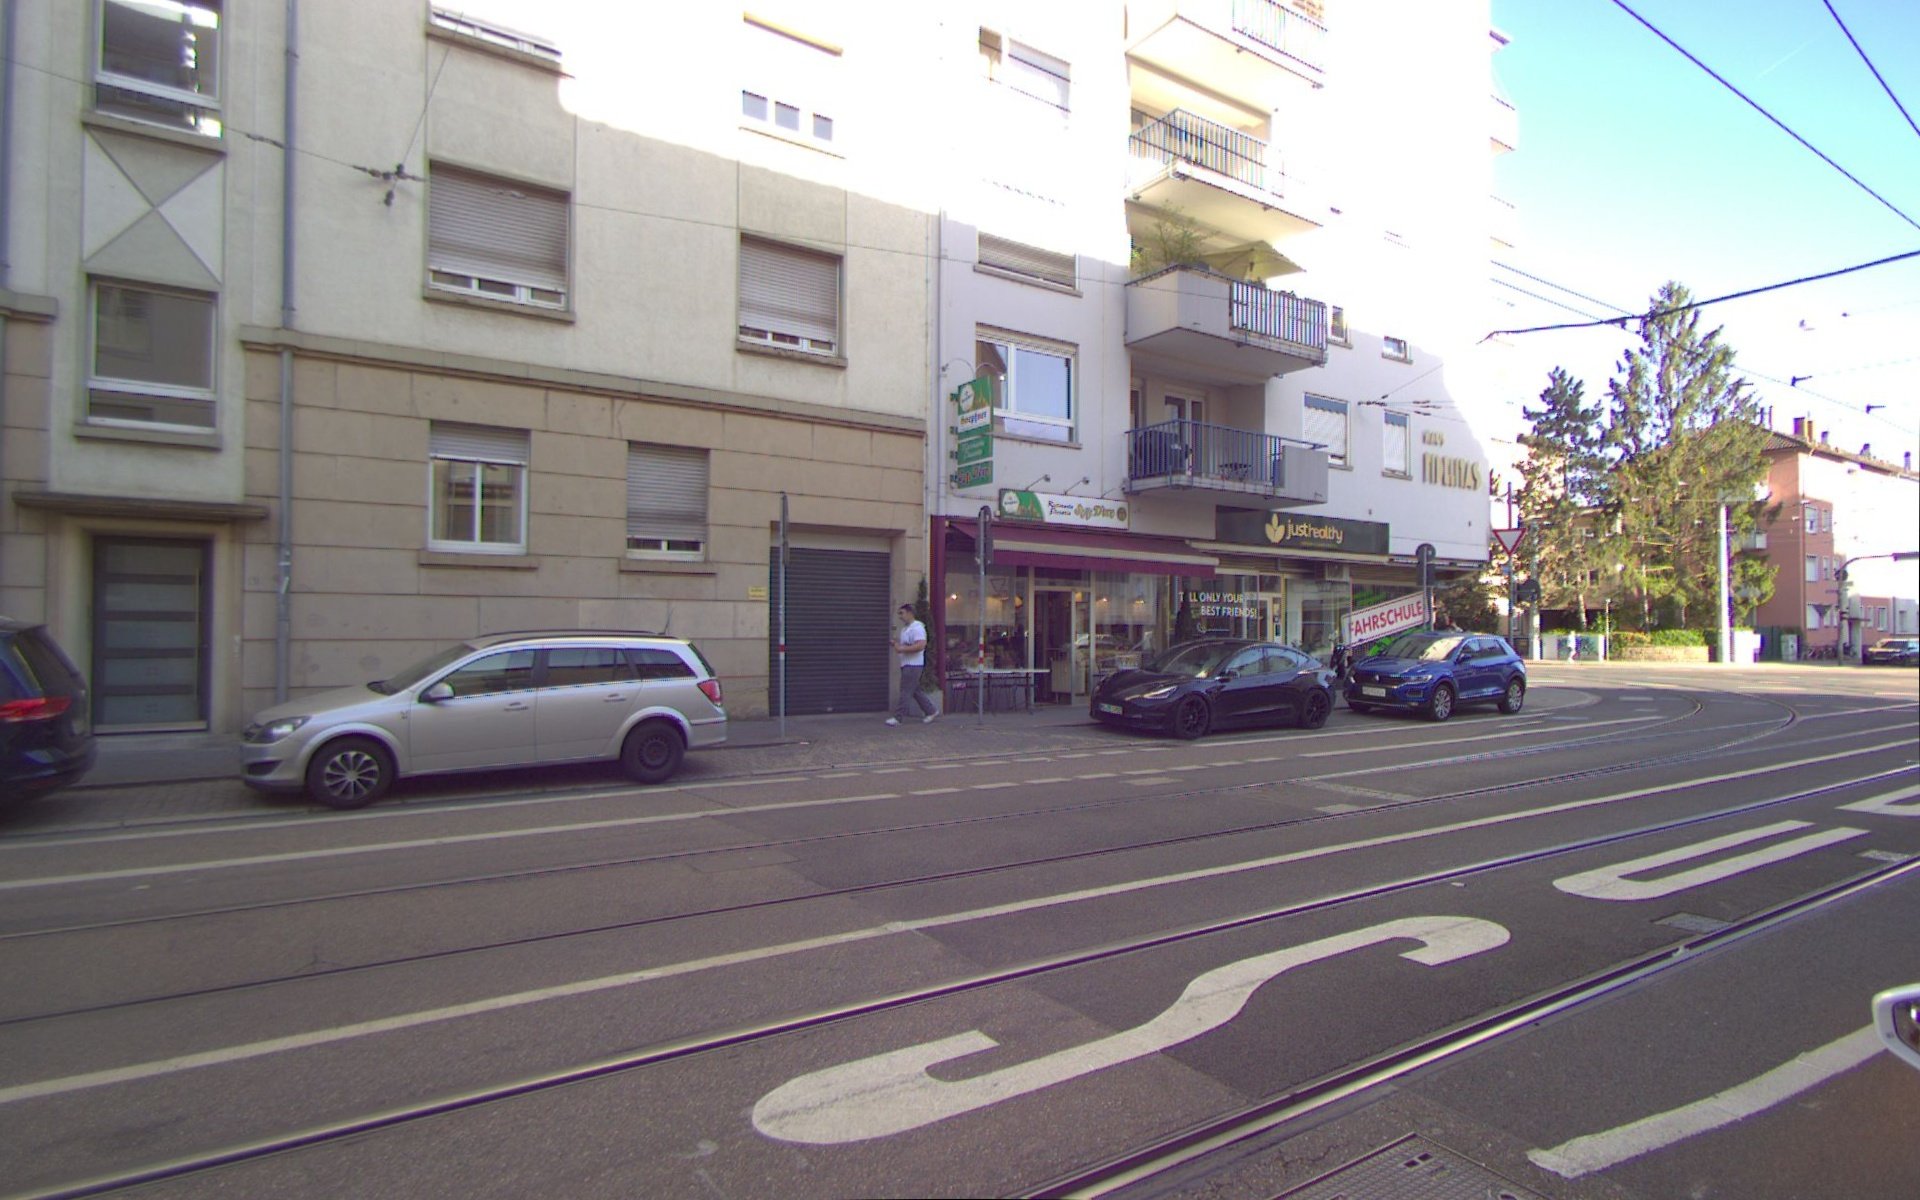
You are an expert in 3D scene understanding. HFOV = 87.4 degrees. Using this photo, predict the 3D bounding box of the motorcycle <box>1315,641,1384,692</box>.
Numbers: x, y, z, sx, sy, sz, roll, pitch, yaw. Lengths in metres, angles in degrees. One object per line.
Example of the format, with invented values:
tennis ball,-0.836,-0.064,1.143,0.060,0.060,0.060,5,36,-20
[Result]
motorcycle,9.250,1.571,23.850,1.778,1.149,0.603,2,0,-34

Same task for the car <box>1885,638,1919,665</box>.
car,54.130,2.902,56.617,4.057,1.456,1.893,2,0,-32

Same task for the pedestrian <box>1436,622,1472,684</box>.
pedestrian,14.783,1.567,30.071,0.653,1.816,0.733,1,-1,-27

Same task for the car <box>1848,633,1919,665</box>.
car,49.723,2.648,53.877,4.397,1.450,2.140,4,-1,-35

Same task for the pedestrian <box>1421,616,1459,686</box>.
pedestrian,13.584,1.446,28.425,0.727,1.925,0.573,3,-2,-15

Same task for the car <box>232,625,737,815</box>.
car,-4.643,1.060,10.171,4.327,1.474,1.714,2,1,-35

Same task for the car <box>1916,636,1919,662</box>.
car,58.330,2.941,59.407,4.185,1.546,1.731,2,0,-34

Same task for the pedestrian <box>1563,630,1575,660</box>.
pedestrian,33.060,2.429,54.517,0.509,1.589,0.572,2,0,33

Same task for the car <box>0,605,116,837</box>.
car,-8.962,0.853,7.176,4.282,1.655,1.802,2,1,-35

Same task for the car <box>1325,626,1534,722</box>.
car,8.953,1.313,19.064,4.196,1.524,1.757,0,1,-36

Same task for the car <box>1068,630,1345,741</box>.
car,3.996,1.288,16.047,4.398,1.494,1.759,2,0,-33

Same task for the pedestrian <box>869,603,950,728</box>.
pedestrian,-0.756,0.965,15.166,0.998,1.791,0.656,2,0,-40

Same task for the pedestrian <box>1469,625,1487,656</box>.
pedestrian,29.670,2.295,57.516,0.772,1.744,0.702,2,0,37
